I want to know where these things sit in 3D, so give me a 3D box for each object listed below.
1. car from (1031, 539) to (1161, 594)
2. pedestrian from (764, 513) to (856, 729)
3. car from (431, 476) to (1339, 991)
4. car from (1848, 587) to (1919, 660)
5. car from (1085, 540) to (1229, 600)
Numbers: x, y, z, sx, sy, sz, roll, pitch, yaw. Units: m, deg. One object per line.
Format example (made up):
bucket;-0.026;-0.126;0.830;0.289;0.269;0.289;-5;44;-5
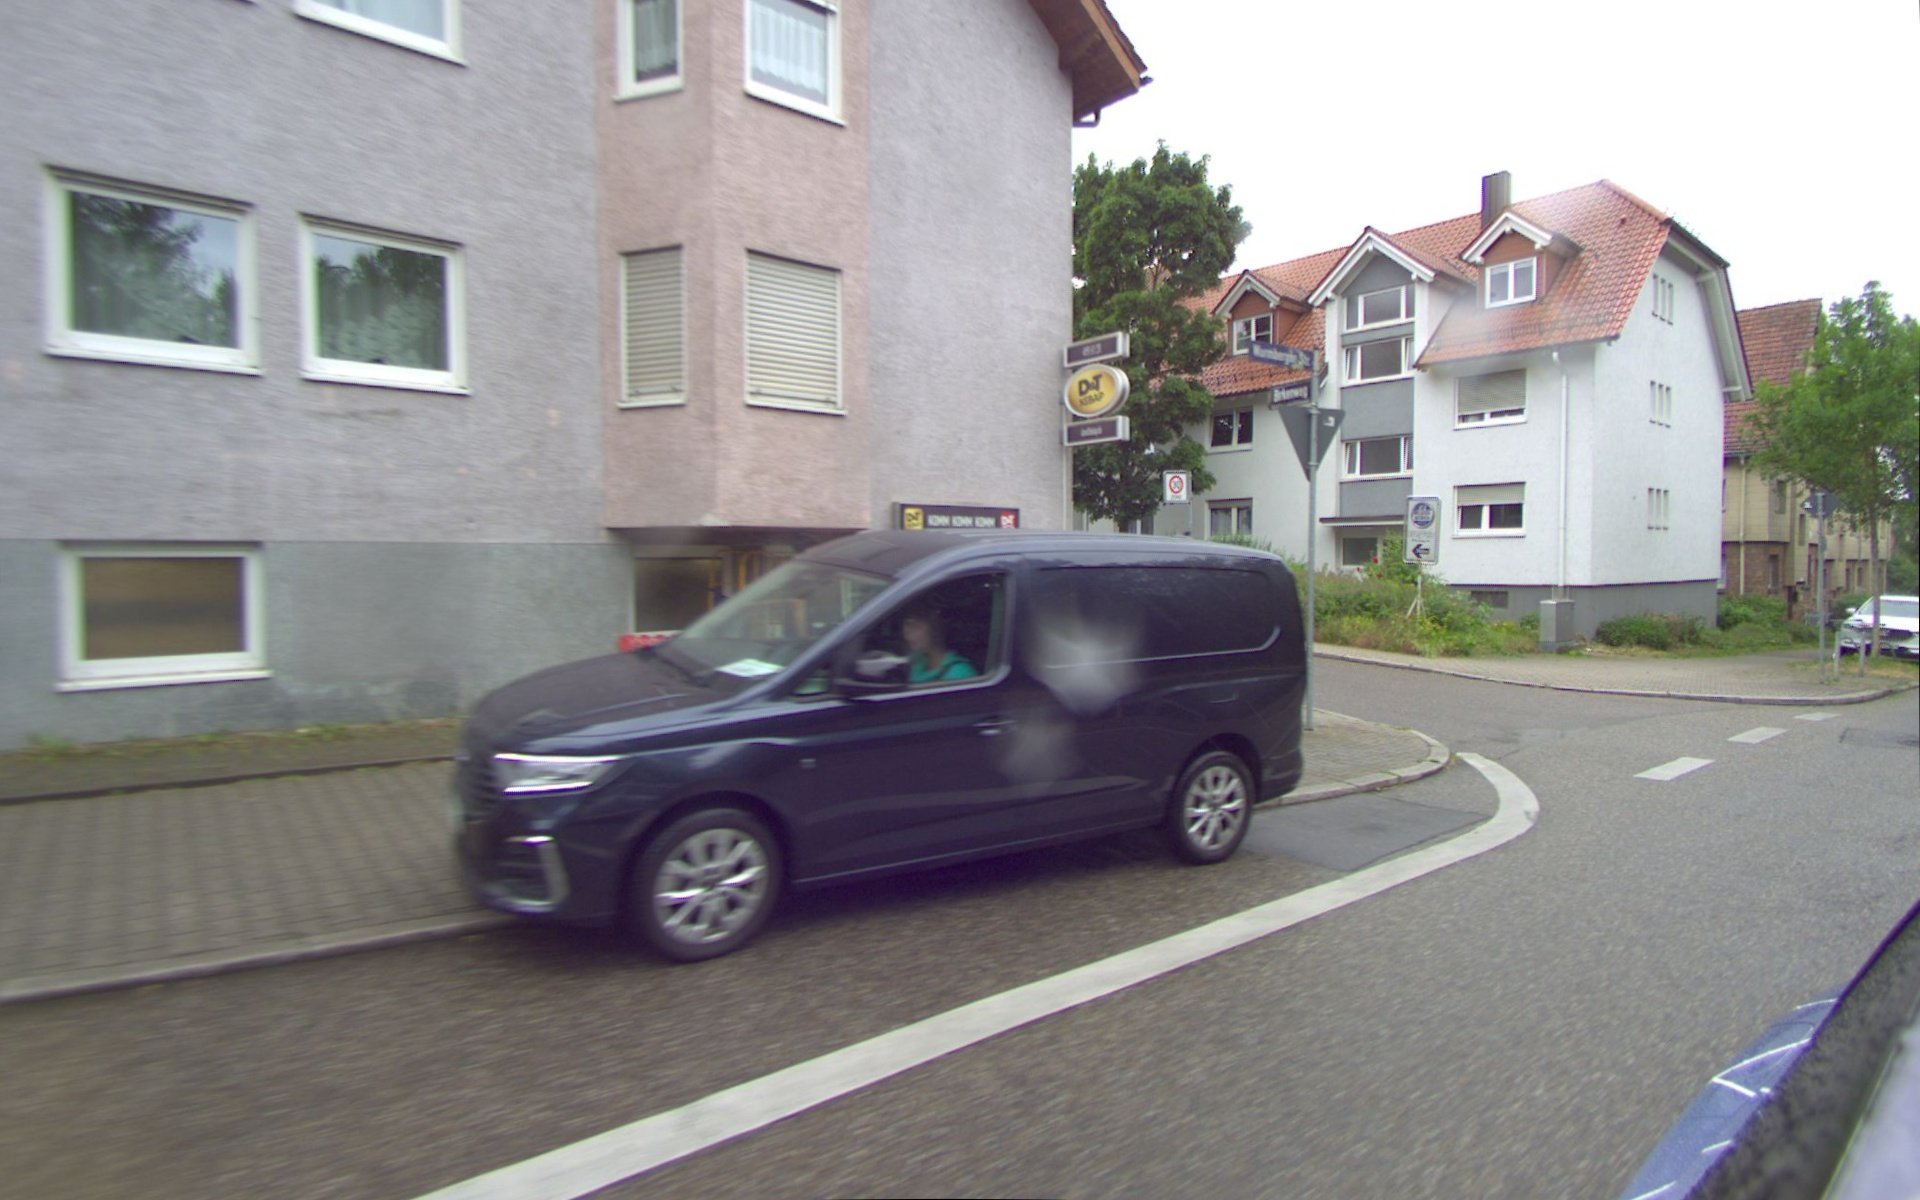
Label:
car;3.655;-0.892;27.077;3.235;1.389;1.647;-1;2;-37
pedestrian;-1.326;0.171;8.937;0.566;1.816;0.619;0;0;-39
car;-0.250;0.434;5.557;4.591;1.829;1.852;0;3;-31
car;23.748;0.543;25.187;4.405;1.682;1.925;0;1;-41
car;4.918;-0.731;25.117;3.463;1.389;1.647;-1;2;-37
